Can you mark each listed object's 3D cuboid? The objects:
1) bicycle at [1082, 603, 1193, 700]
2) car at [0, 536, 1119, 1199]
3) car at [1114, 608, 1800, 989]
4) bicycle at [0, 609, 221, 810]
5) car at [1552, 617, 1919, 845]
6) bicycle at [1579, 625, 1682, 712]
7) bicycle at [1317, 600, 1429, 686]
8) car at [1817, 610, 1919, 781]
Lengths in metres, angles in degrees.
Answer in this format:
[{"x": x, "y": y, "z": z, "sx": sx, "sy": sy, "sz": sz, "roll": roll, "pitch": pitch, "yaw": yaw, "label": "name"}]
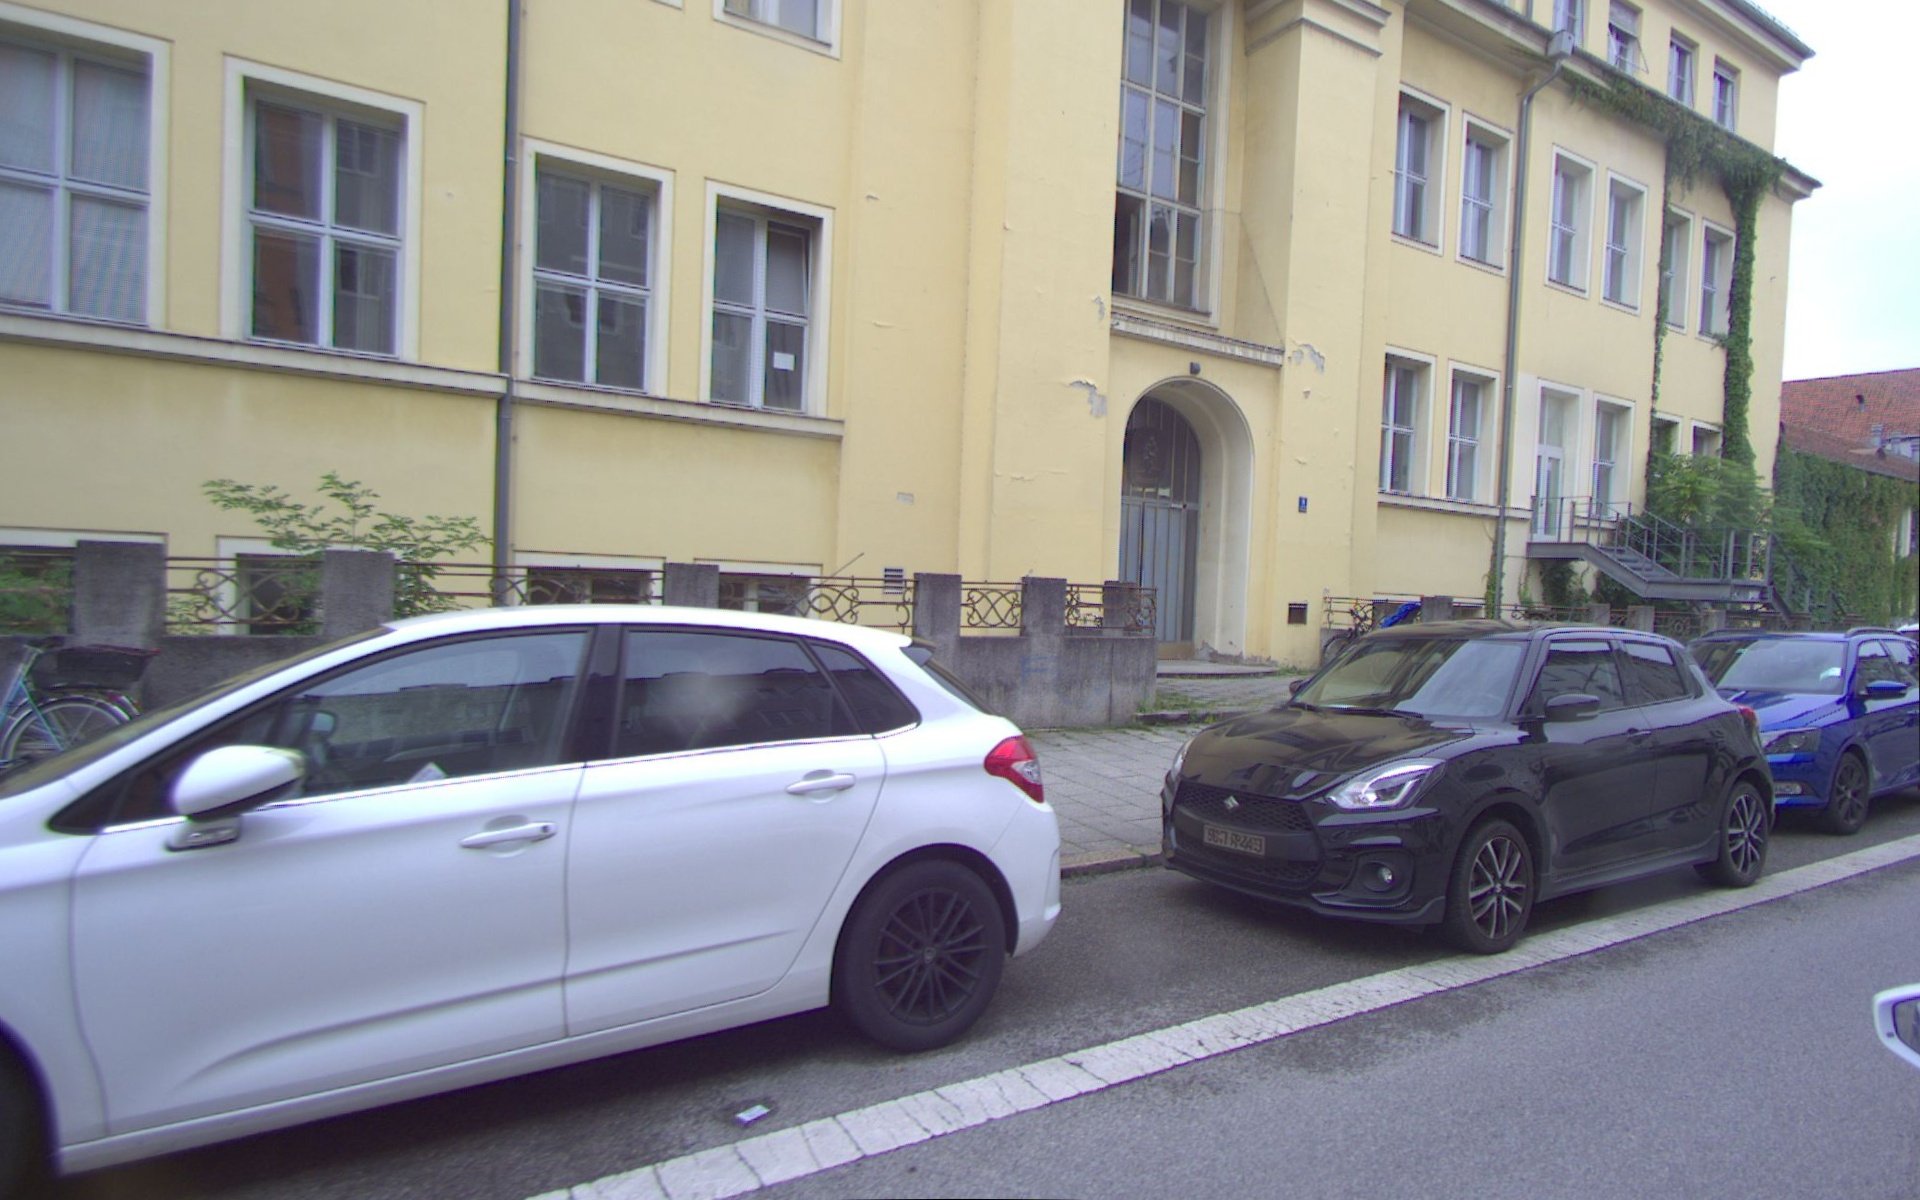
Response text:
[{"x": 2.224, "y": 0.619, "z": 12.768, "sx": 0.434, "sy": 1.065, "sz": 1.548, "roll": 2, "pitch": 3, "yaw": -31, "label": "bicycle"}, {"x": -1.576, "y": 0.693, "z": 3.392, "sx": 4.040, "sy": 1.547, "sz": 1.715, "roll": 1, "pitch": -3, "yaw": -31, "label": "car"}, {"x": 2.942, "y": 0.850, "z": 5.752, "sx": 3.940, "sy": 1.515, "sz": 1.672, "roll": 1, "pitch": -2, "yaw": -31, "label": "car"}, {"x": -5.492, "y": 0.629, "z": 5.941, "sx": 1.690, "sy": 1.092, "sz": 0.585, "roll": 2, "pitch": 3, "yaw": -18, "label": "bicycle"}, {"x": 6.896, "y": 0.935, "z": 8.474, "sx": 3.929, "sy": 1.525, "sz": 1.671, "roll": 1, "pitch": -2, "yaw": -32, "label": "car"}, {"x": 10.072, "y": 1.013, "z": 15.086, "sx": 1.543, "sy": 1.205, "sz": 0.574, "roll": 2, "pitch": 4, "yaw": -30, "label": "bicycle"}, {"x": 6.609, "y": 0.662, "z": 16.151, "sx": 0.572, "sy": 1.205, "sz": 1.548, "roll": 2, "pitch": 4, "yaw": -31, "label": "bicycle"}, {"x": 11.119, "y": 0.976, "z": 10.890, "sx": 4.311, "sy": 1.655, "sz": 1.670, "roll": 2, "pitch": -2, "yaw": -34, "label": "car"}]
